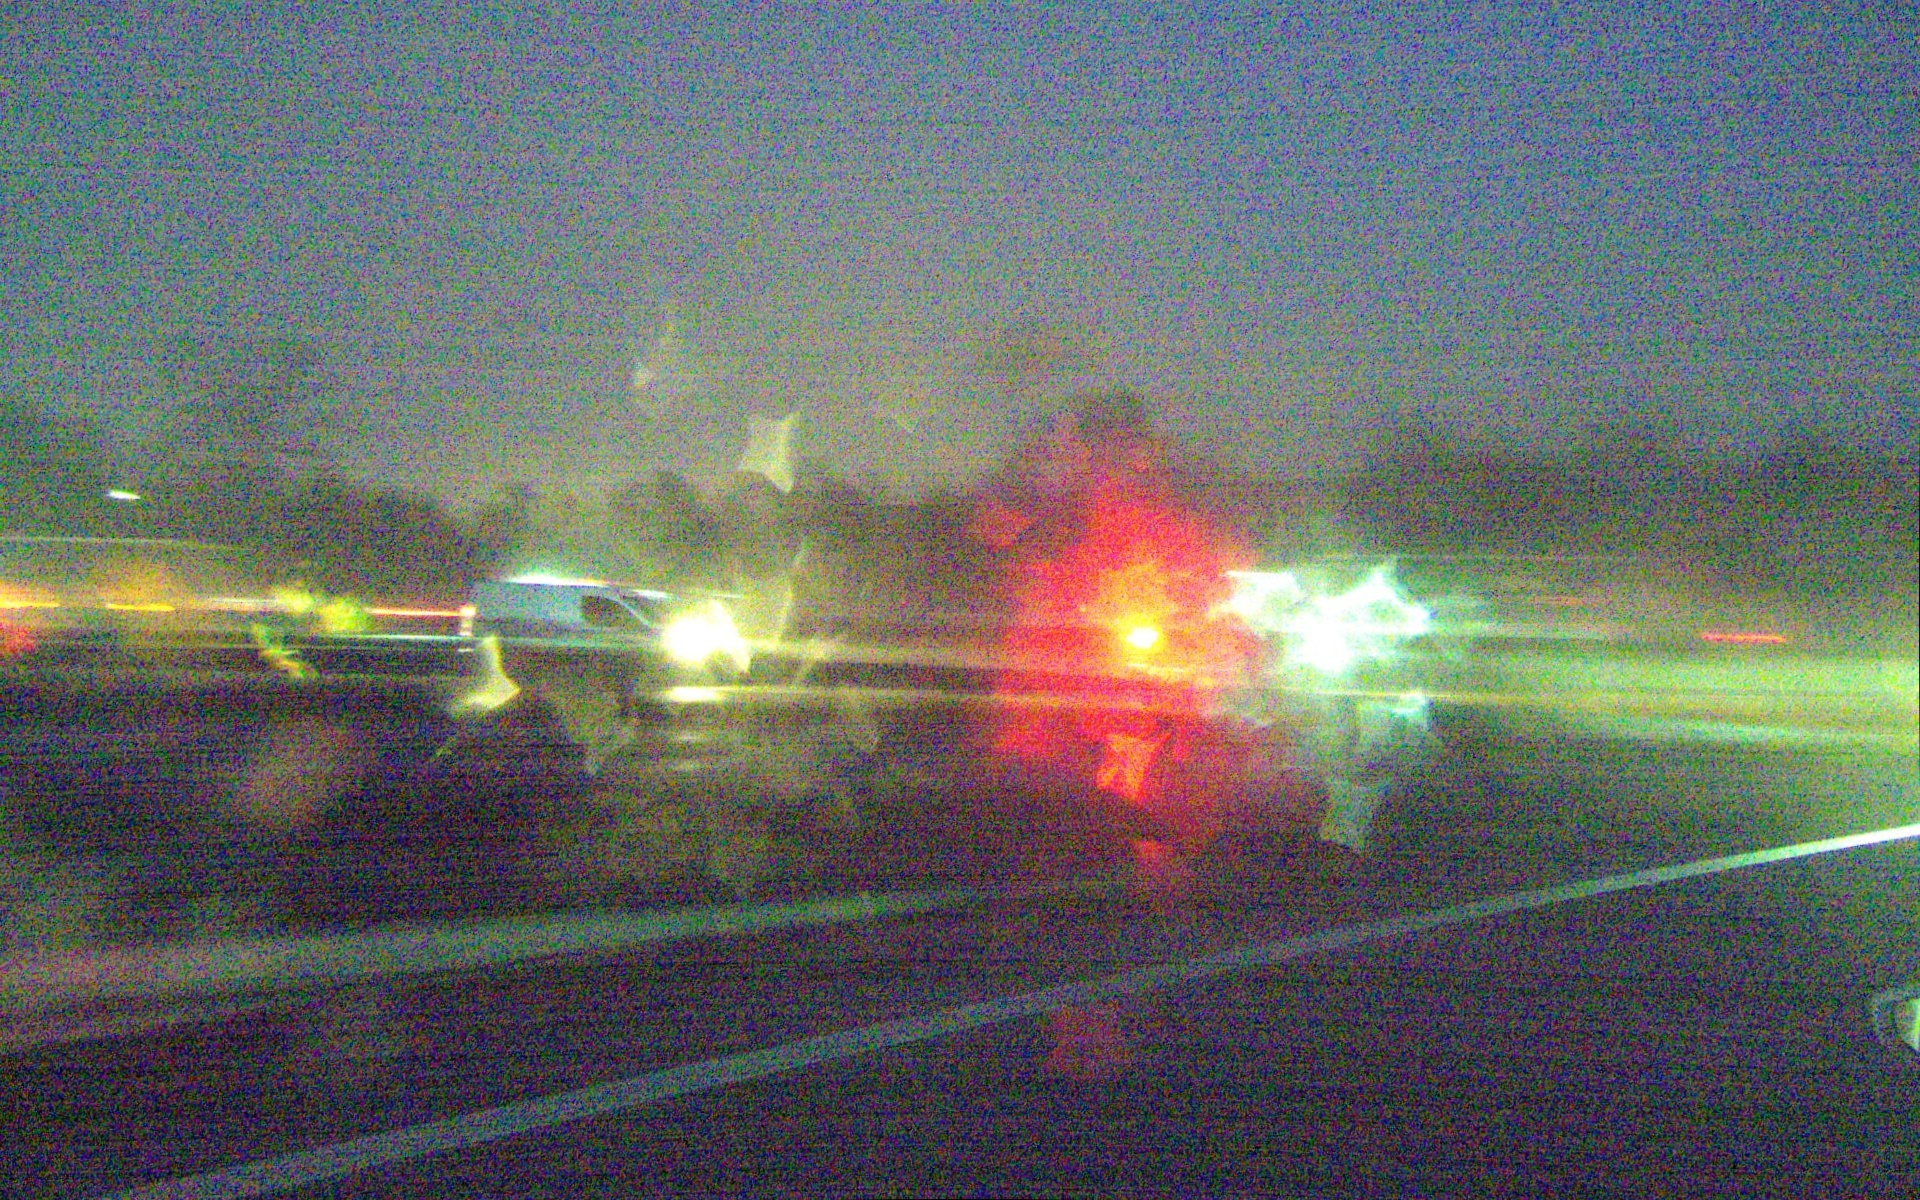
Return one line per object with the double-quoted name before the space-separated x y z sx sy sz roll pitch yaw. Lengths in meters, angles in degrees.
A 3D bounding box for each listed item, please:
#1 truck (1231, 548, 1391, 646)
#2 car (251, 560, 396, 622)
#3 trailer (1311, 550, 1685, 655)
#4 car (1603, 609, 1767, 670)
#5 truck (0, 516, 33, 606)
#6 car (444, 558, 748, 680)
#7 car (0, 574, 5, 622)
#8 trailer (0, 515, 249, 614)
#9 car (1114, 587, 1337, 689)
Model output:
"truck" 14.435 -0.149 41.615 5.590 3.781 2.661 2 2 2
"car" -22.686 -0.331 35.898 3.920 2.041 2.000 2 2 4
"trailer" 21.836 0.069 41.345 13.665 3.781 2.661 2 2 2
"car" 24.002 1.273 33.377 3.920 1.796 2.000 2 2 2
"truck" -46.582 -1.872 46.098 5.633 4.083 2.780 2 2 4
"car" -6.725 0.361 18.934 4.917 2.040 2.001 2 -2 2
"car" -42.643 -0.123 41.840 3.920 2.041 2.000 2 2 3
"trailer" -39.949 -1.675 45.675 13.733 4.083 2.780 2 2 4
"car" 5.858 0.802 22.601 4.476 2.041 2.000 2 2 3
